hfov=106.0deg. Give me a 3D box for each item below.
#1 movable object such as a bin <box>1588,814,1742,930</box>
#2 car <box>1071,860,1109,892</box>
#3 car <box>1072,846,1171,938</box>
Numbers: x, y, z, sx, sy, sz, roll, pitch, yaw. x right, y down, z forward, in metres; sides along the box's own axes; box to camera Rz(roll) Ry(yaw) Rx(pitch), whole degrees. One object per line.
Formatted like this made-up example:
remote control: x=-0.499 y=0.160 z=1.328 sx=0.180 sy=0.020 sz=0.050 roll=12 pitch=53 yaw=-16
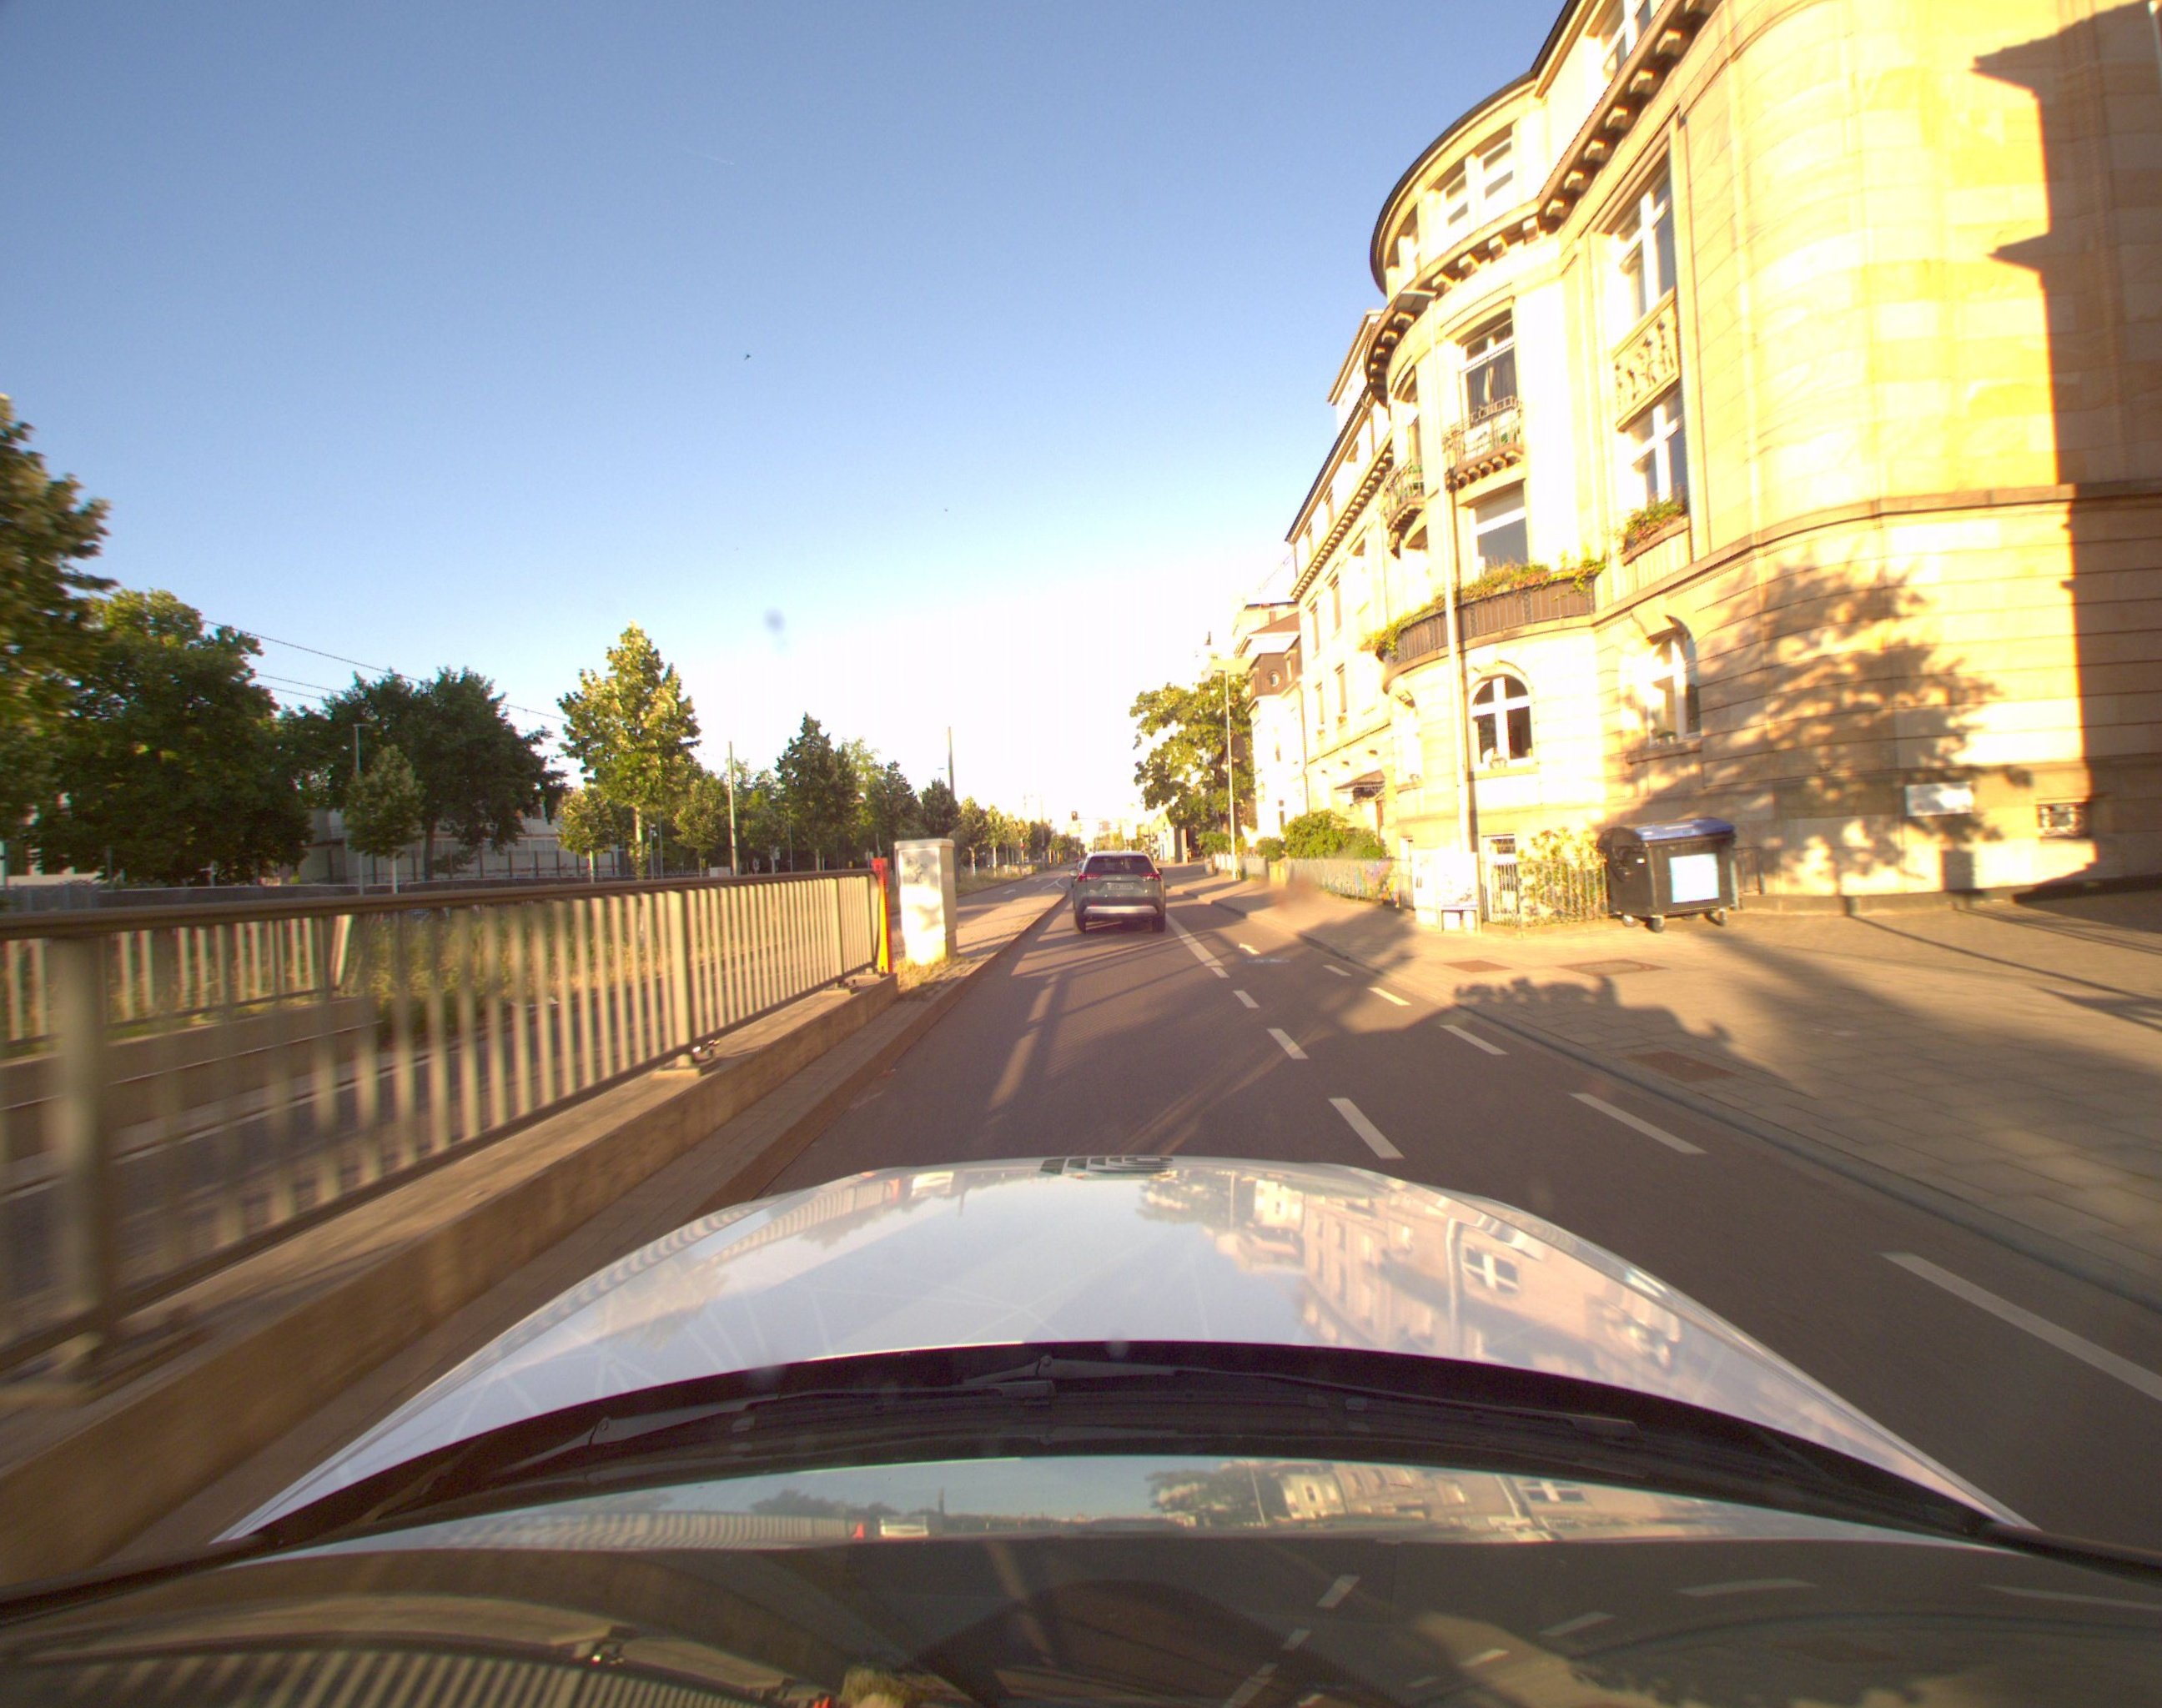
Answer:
movable object such as a bin: x=7.988 y=0.239 z=11.209 sx=1.256 sy=1.462 sz=1.123 roll=-3 pitch=0 yaw=-2
car: x=0.458 y=1.103 z=42.997 sx=1.852 sy=1.551 sz=4.109 roll=-1 pitch=0 yaw=0
car: x=0.790 y=0.729 z=17.635 sx=1.852 sy=1.714 sz=4.192 roll=-1 pitch=0 yaw=0
